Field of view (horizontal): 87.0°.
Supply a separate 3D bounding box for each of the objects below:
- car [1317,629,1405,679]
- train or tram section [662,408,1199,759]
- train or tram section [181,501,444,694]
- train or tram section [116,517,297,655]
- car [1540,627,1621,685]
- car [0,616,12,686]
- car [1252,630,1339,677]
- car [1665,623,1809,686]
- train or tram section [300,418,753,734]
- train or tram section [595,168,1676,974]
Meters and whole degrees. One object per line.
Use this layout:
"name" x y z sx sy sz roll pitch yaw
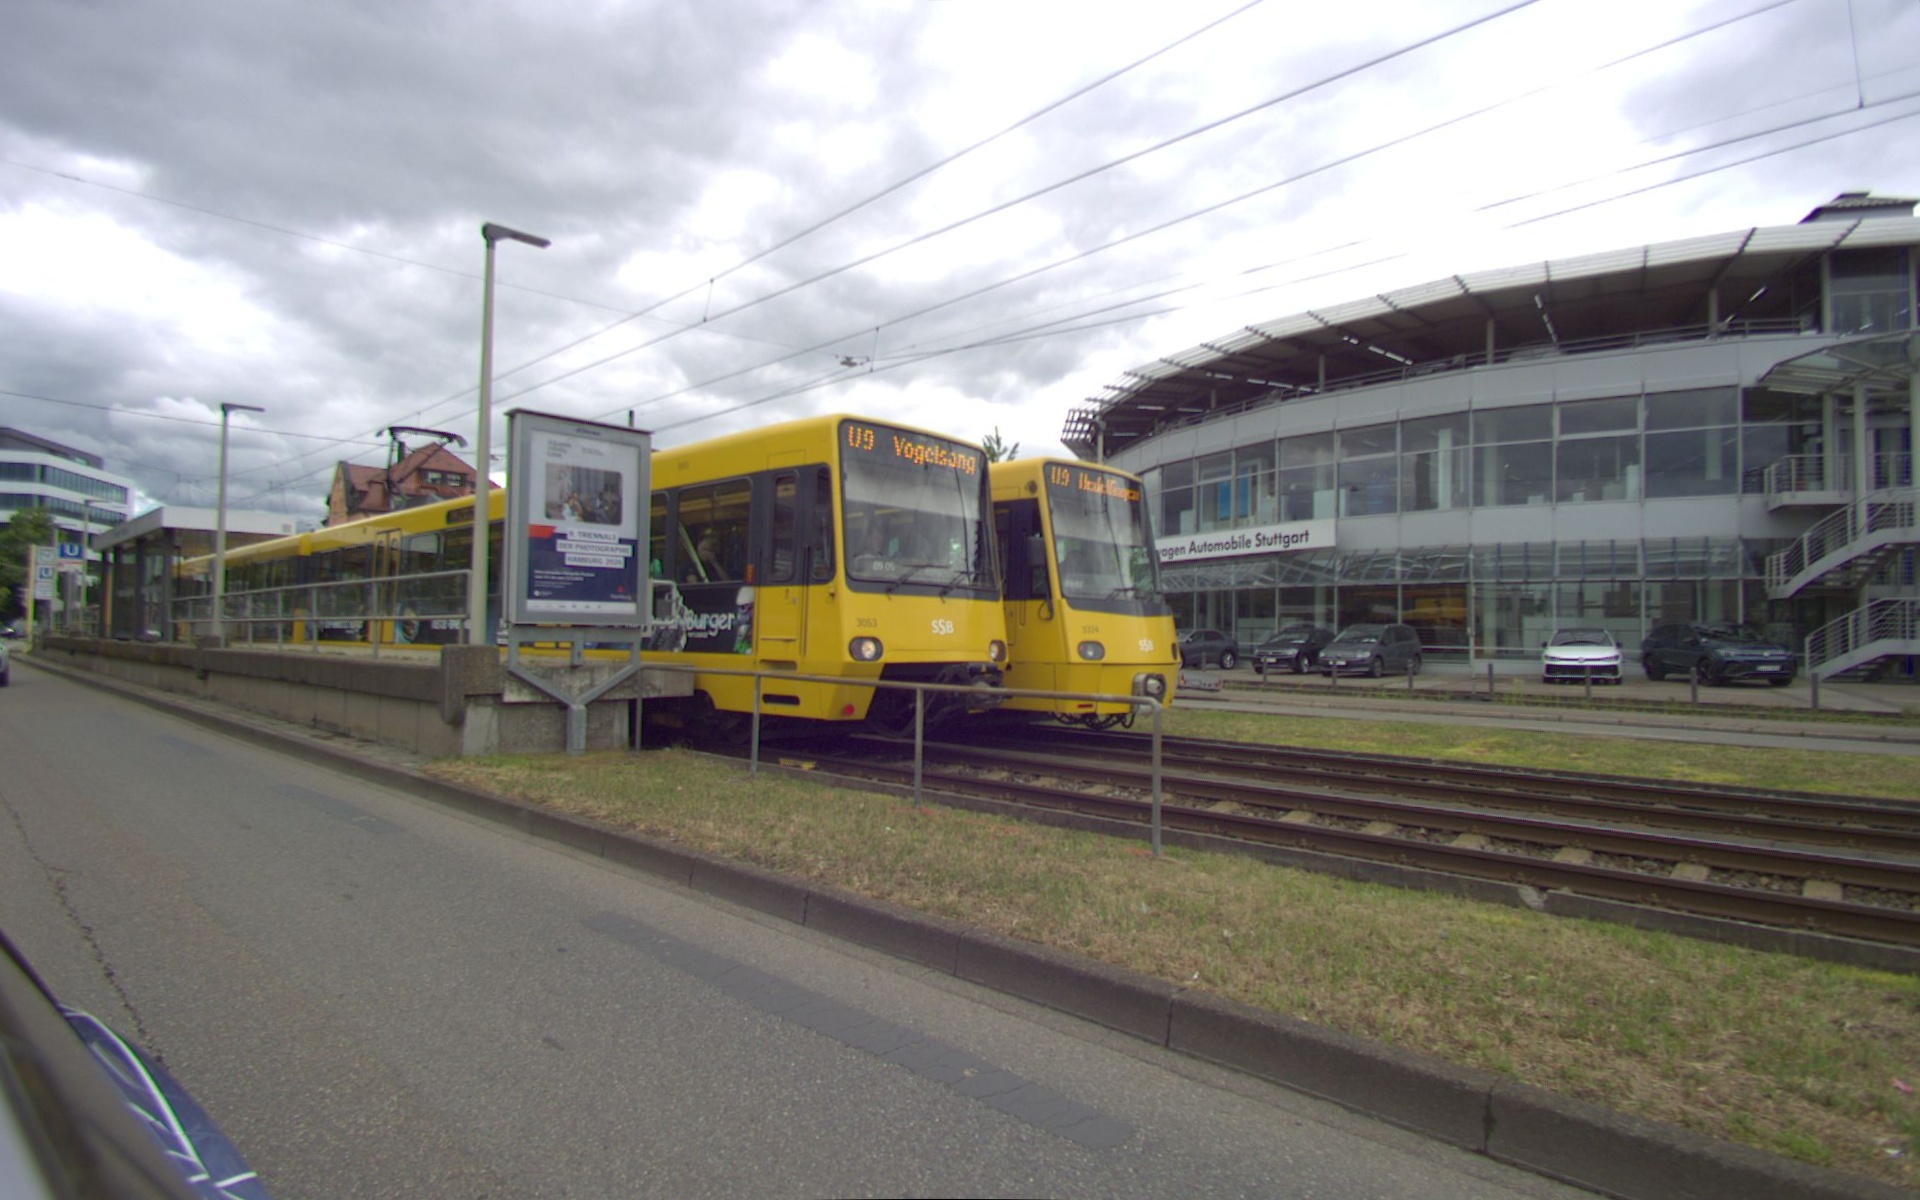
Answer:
"car" 12.857 1.682 32.299 1.792 1.497 3.953 -1 -2 35
"train or tram section" -1.062 -0.092 14.899 9.180 3.825 1.971 -1 -3 44
"train or tram section" -17.027 0.193 26.010 11.911 3.997 2.710 -3 -4 43
"train or tram section" -25.729 -0.162 34.222 11.911 3.997 2.710 -3 -4 43
"car" 17.318 1.516 28.187 1.791 1.497 3.955 -1 -2 33
"car" -23.924 1.178 23.869 4.112 1.581 1.891 -1 -1 41
"car" 11.477 1.778 34.503 1.792 1.497 3.953 -1 -2 35
"car" 19.977 1.370 26.234 1.782 1.497 3.974 0 -2 19
"train or tram section" -8.302 -0.076 17.849 11.911 3.997 2.710 -3 -4 43
"train or tram section" 0.386 0.033 9.697 10.196 4.096 2.939 -3 -4 43
